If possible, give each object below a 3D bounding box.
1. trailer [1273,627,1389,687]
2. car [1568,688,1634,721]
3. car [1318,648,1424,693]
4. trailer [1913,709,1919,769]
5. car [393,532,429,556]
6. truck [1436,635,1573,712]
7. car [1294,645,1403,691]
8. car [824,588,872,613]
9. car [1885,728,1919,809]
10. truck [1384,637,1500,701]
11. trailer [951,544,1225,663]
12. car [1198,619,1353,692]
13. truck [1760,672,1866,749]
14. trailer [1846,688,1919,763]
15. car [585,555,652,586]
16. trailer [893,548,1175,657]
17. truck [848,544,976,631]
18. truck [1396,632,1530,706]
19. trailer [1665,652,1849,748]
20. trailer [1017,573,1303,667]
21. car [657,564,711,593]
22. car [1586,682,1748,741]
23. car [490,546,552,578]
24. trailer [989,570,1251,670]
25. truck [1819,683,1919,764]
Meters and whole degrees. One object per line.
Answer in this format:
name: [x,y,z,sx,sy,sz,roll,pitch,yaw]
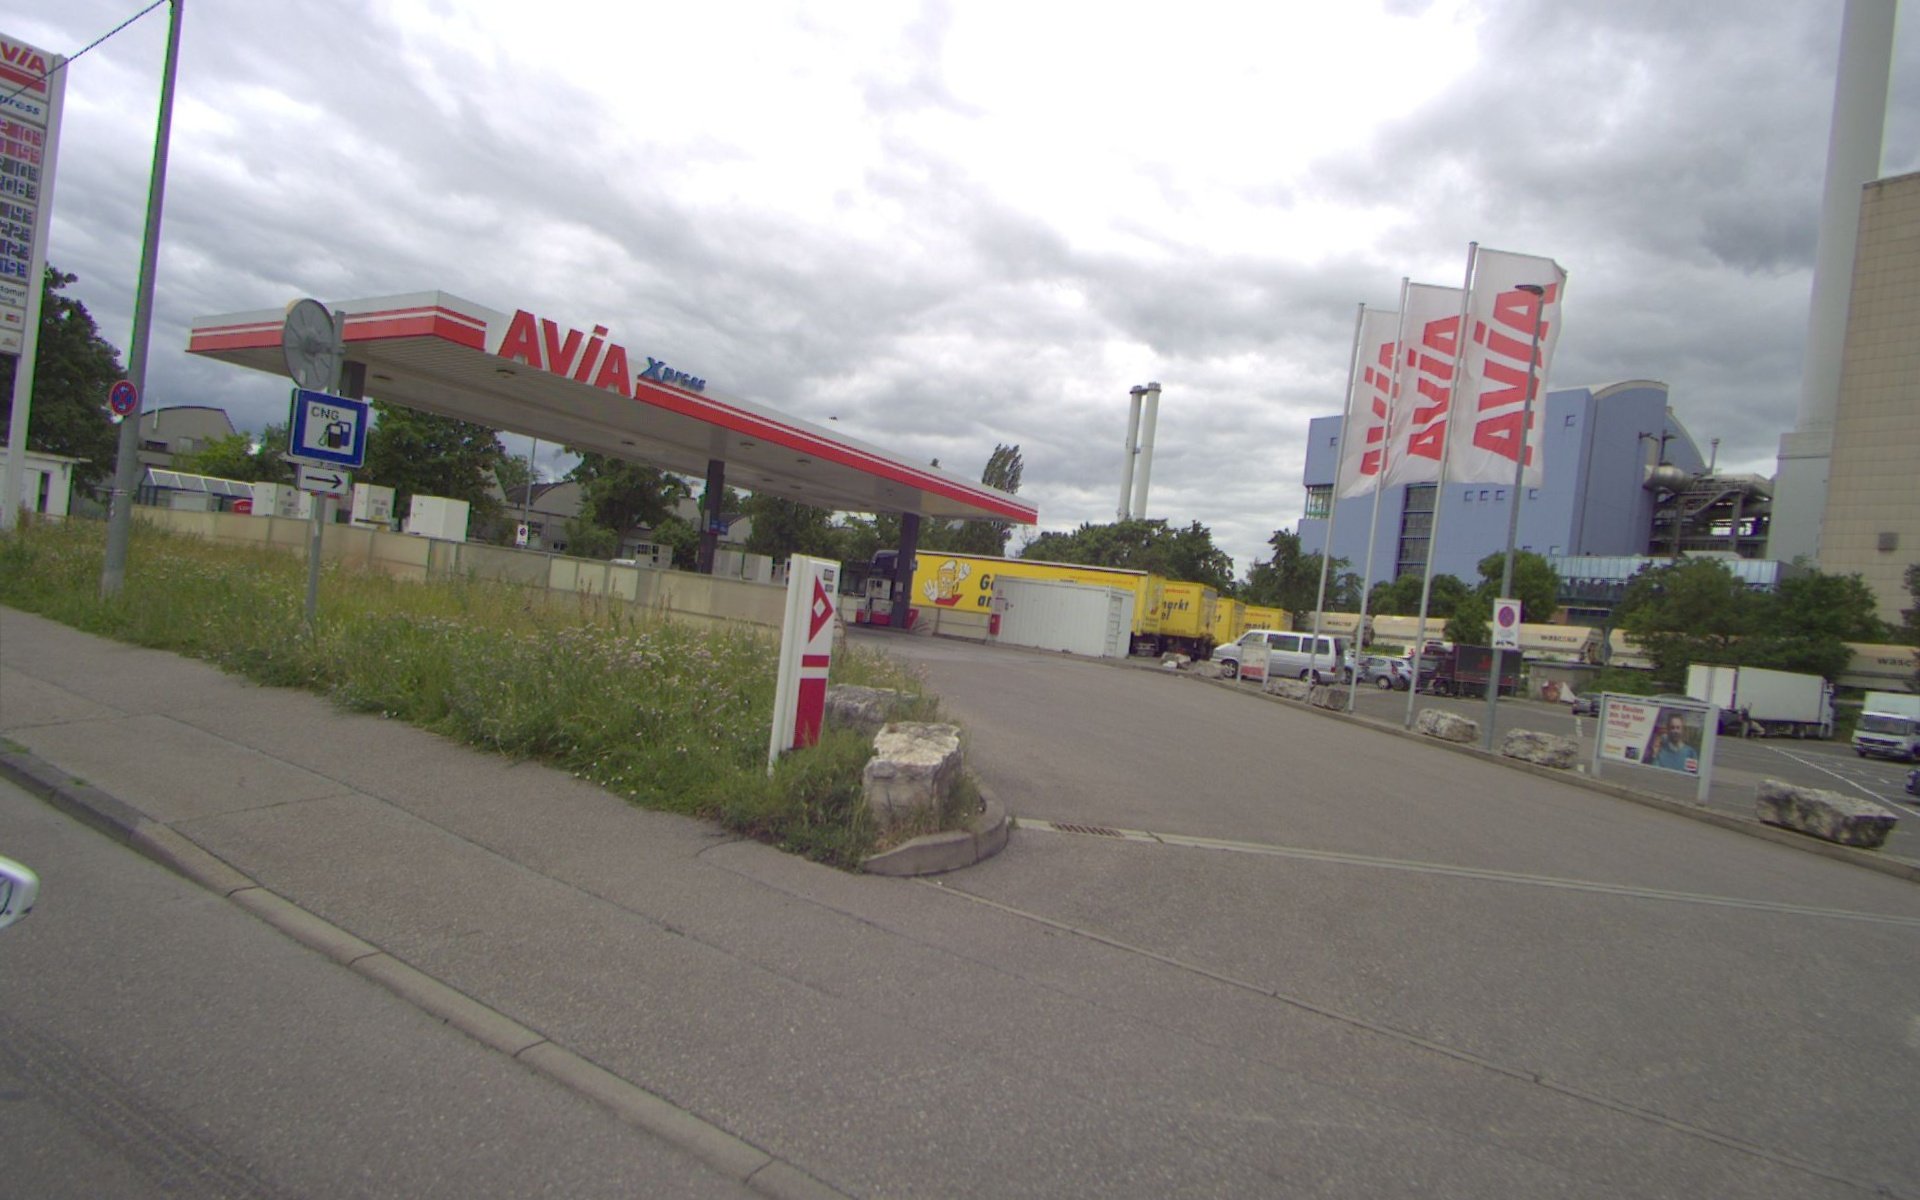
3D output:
trailer: [35.831,5.549,96.846,12.460,4.354,3.527,8,-1,-34]
car: [42.160,6.877,66.135,4.647,1.620,1.970,8,0,-36]
car: [20.927,3.594,51.295,4.611,1.620,1.986,7,0,32]
trailer: [56.246,7.230,53.153,18.097,4.554,3.531,8,-1,-31]
car: [-45.053,-4.603,82.503,1.895,1.540,4.020,6,1,-38]
truck: [39.304,5.351,72.373,11.857,4.342,2.848,8,-1,-32]
car: [19.155,3.335,49.640,4.611,1.620,1.986,7,0,32]
car: [-9.361,0.042,83.762,1.946,1.672,4.286,6,0,-36]
car: [20.412,3.499,18.834,4.146,1.409,1.766,7,1,32]
truck: [41.765,6.052,86.935,11.857,4.342,2.848,8,-1,-32]
trailer: [6.484,0.061,53.590,14.064,4.782,3.002,7,1,31]
car: [11.461,1.996,36.616,4.869,1.936,1.986,7,0,32]
truck: [58.463,7.571,68.929,6.590,4.485,3.517,8,-1,-34]
trailer: [57.830,7.774,58.800,18.308,3.589,3.612,8,0,-31]
car: [-24.428,-2.113,72.016,4.576,1.666,1.964,6,0,31]
trailer: [3.405,0.001,50.895,14.064,3.964,3.003,7,1,31]
truck: [-2.622,-0.695,54.589,5.940,3.964,2.960,7,1,31]
truck: [37.603,5.212,74.951,11.857,4.342,2.848,8,-1,-32]
trailer: [50.891,6.508,63.821,18.116,4.554,3.527,8,-1,-34]
trailer: [12.289,1.144,64.319,17.771,3.964,2.693,7,1,31]
car: [-21.062,-1.640,76.592,2.084,1.758,4.831,6,0,-38]
car: [25.834,4.046,36.971,4.607,1.386,1.986,7,0,32]
car: [-28.131,-2.441,64.446,3.821,1.549,1.733,7,0,33]
trailer: [9.413,1.117,61.509,15.463,4.314,3.023,7,1,31]
truck: [50.165,6.740,54.099,7.179,3.601,3.682,7,0,-31]
